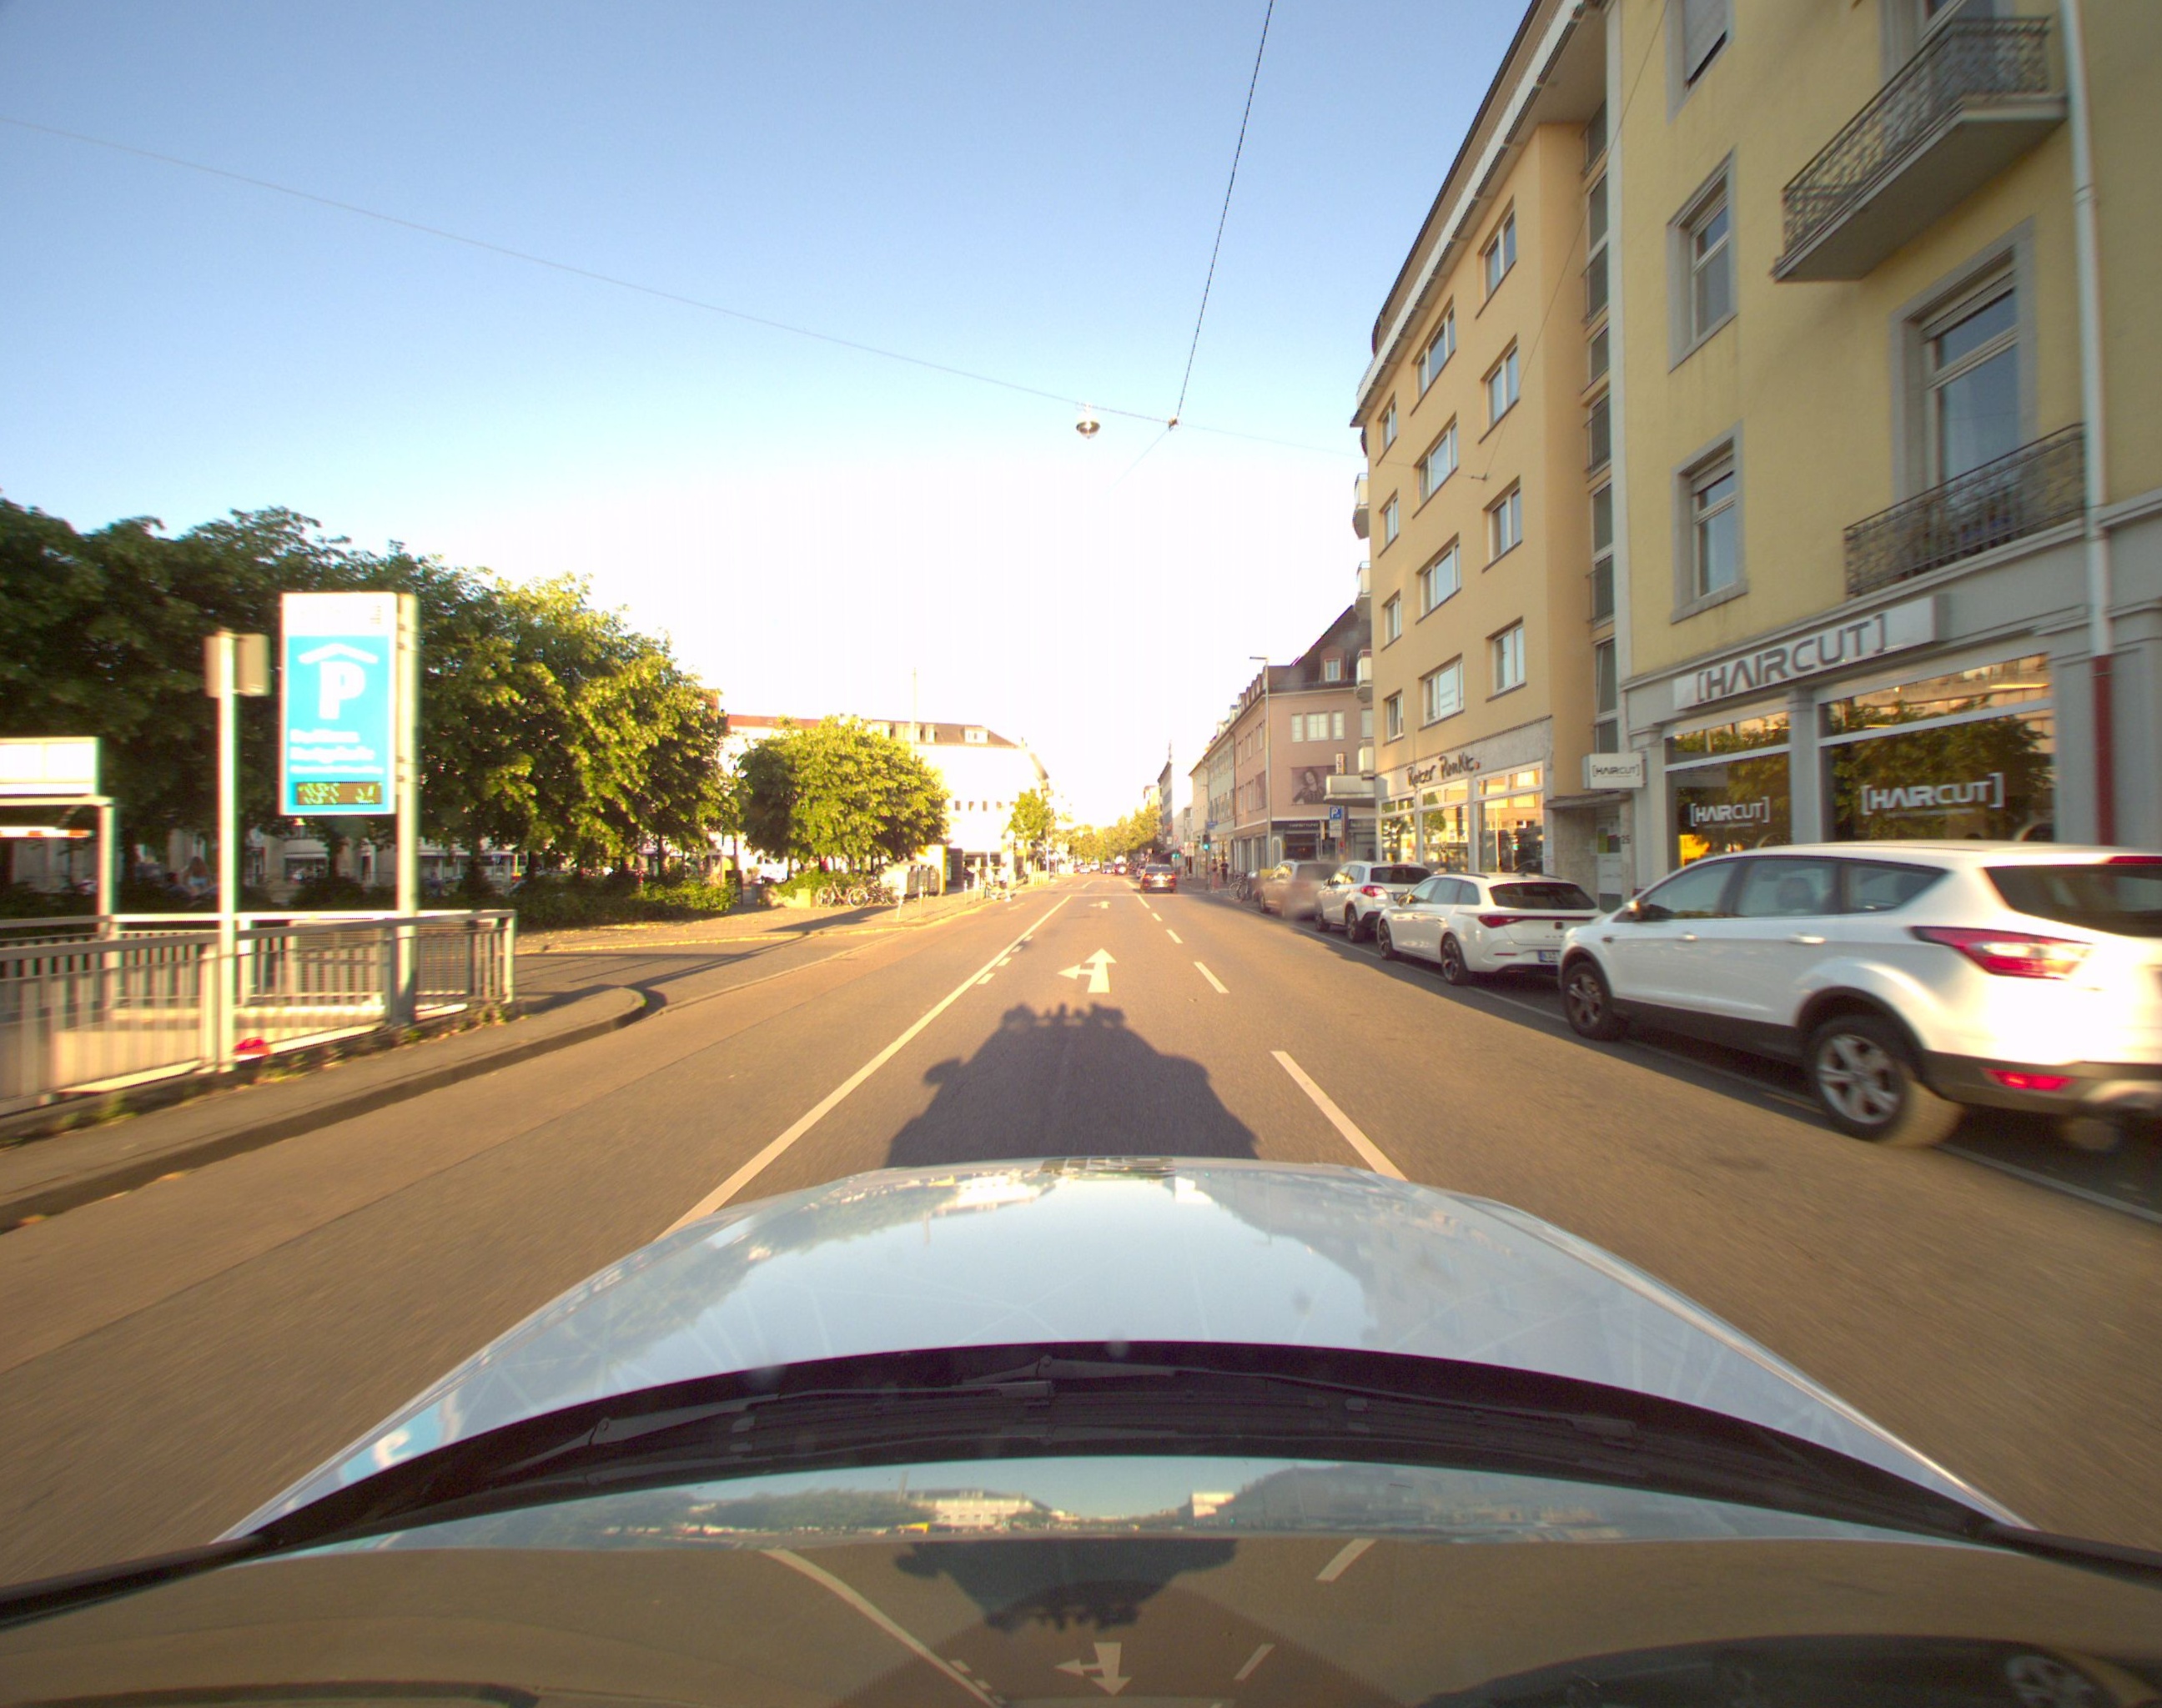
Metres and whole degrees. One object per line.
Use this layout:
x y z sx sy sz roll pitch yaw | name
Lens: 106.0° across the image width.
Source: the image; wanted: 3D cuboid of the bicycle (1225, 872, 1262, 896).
6.989 1.304 35.103 1.495 1.015 0.512 0 -1 -1 | bicycle

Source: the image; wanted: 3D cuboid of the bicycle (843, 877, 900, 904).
-8.148 1.433 31.742 2.036 0.971 0.636 2 -1 0 | bicycle

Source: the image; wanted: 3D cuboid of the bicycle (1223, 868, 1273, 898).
6.785 1.181 33.209 1.879 1.167 0.722 -1 -1 -2 | bicycle

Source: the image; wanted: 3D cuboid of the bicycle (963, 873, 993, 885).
-8.291 2.008 65.396 2.320 0.919 0.700 -1 -1 -1 | bicycle

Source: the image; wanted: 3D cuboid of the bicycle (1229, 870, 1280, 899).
6.856 1.190 32.254 1.878 1.112 0.601 0 -1 -1 | bicycle

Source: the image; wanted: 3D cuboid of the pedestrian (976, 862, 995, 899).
-4.479 1.240 38.250 0.881 1.720 0.713 0 -1 -10 | pedestrian

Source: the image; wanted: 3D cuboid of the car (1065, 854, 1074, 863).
-2.766 1.114 196.712 1.820 2.014 3.679 0 -1 3 | car

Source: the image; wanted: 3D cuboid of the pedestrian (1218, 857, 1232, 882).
10.359 1.136 58.537 0.755 1.777 1.047 0 -1 -3 | pedestrian

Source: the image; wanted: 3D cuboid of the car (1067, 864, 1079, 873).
-1.452 2.698 149.570 1.886 1.596 4.003 0 -1 3 | car

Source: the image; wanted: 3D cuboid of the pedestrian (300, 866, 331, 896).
-39.962 1.391 42.517 0.983 1.501 0.980 0 -1 -30 | pedestrian

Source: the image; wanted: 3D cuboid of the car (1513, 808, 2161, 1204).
5.249 0.638 5.918 1.875 1.745 4.661 -1 1 2 | car

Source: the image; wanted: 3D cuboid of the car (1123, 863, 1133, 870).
10.519 2.836 181.126 1.888 1.596 3.998 0 -1 -1 | car

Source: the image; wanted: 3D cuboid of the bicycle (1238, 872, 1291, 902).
6.937 1.237 30.876 1.879 1.113 0.593 0 -2 -2 | bicycle

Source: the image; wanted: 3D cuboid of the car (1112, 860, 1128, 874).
4.960 1.635 102.983 1.986 1.750 4.002 0 -1 2 | car

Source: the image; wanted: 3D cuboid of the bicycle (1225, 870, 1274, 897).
7.042 1.231 34.012 1.879 1.112 0.761 0 -1 -2 | bicycle

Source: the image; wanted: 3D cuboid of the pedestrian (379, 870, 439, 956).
-15.636 1.348 18.968 0.796 1.948 0.733 -1 -1 15 | pedestrian

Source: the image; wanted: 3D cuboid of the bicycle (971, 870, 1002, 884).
-8.141 1.982 70.186 2.516 1.146 0.700 -1 -1 -1 | bicycle

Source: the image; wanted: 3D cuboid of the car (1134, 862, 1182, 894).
3.763 1.138 40.466 1.883 1.492 4.202 0 -1 -1 | car

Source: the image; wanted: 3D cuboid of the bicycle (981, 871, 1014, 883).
-7.634 2.089 74.529 2.928 1.022 0.844 -1 -1 4 | bicycle

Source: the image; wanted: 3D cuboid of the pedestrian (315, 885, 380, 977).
-16.053 1.655 17.827 0.796 1.948 0.733 -1 -1 15 | pedestrian

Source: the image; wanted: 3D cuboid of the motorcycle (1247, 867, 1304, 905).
6.876 1.116 28.865 1.807 1.263 0.715 -2 -1 -1 | motorcycle

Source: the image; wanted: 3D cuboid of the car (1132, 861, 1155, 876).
6.607 1.542 86.951 2.325 1.604 3.896 0 -1 2 | car

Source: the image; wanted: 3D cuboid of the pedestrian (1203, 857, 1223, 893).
6.385 1.010 39.475 0.793 1.720 0.810 0 -1 -5 | pedestrian

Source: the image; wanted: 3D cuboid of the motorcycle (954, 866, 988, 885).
-8.413 1.647 62.249 2.404 1.426 1.113 -1 -1 1 | motorcycle

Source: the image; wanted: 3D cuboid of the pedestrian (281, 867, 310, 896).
-40.579 1.412 42.087 0.847 1.501 0.940 0 -1 -28 | pedestrian

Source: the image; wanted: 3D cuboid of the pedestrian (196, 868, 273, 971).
-16.555 1.252 15.931 0.796 1.948 0.733 -1 -1 15 | pedestrian

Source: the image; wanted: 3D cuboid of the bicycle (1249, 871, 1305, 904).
7.140 1.212 29.752 1.879 1.112 0.593 -1 0 -2 | bicycle

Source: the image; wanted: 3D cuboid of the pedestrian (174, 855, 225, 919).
-27.306 1.011 25.235 0.797 1.948 0.732 -1 -1 9 | pedestrian

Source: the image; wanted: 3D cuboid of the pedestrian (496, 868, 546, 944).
-14.855 1.365 21.610 0.796 1.948 0.733 -1 -1 15 | pedestrian

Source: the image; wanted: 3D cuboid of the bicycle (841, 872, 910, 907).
-7.676 1.315 30.462 2.423 1.237 0.517 1 -1 -1 | bicycle

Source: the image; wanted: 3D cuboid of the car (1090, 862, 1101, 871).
2.984 2.514 164.507 1.985 1.750 4.003 0 -1 3 | car

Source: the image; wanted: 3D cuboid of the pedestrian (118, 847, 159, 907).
-31.284 0.744 27.049 0.734 1.948 0.795 0 -1 -38 | pedestrian

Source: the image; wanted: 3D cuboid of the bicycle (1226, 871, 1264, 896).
6.977 1.258 34.615 1.496 1.026 0.512 -2 -1 -3 | bicycle

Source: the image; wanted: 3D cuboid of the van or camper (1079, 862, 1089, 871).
0.769 3.174 207.453 2.466 2.405 3.997 0 -1 -2 | van or camper

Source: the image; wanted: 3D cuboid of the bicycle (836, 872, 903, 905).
-8.078 1.327 31.155 2.423 1.237 0.462 0 -1 -1 | bicycle

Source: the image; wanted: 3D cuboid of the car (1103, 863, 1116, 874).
4.269 2.152 121.968 1.876 1.486 4.004 0 -1 3 | car

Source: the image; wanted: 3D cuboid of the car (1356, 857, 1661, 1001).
5.679 0.862 11.699 2.007 1.543 4.873 -1 1 3 | car

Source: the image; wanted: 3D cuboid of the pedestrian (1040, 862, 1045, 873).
-6.075 2.130 128.529 0.600 1.721 0.575 0 -1 -12 | pedestrian

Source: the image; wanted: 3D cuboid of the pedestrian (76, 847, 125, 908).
-32.029 0.747 26.604 0.807 1.948 0.681 0 -1 -28 | pedestrian

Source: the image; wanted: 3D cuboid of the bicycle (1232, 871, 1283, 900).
6.858 1.213 31.713 1.879 1.112 0.521 0 -1 -2 | bicycle

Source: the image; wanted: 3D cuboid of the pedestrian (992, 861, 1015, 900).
-3.510 1.189 36.864 0.872 1.720 0.754 0 -1 -23 | pedestrian

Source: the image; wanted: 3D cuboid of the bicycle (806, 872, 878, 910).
-8.499 1.298 28.971 2.481 1.284 0.820 0 -1 22 | bicycle

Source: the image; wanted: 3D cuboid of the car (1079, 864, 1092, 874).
0.740 2.522 136.995 1.886 1.596 4.003 0 -1 3 | car

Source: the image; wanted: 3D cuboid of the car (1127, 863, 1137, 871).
10.424 2.714 168.110 1.775 1.596 3.633 0 -1 -1 | car

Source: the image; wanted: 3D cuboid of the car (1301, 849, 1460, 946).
6.166 0.795 17.349 1.861 1.762 4.410 -1 1 2 | car

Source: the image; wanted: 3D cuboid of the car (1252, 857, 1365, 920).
6.400 0.919 23.506 1.987 1.613 4.803 -1 -1 1 | car
